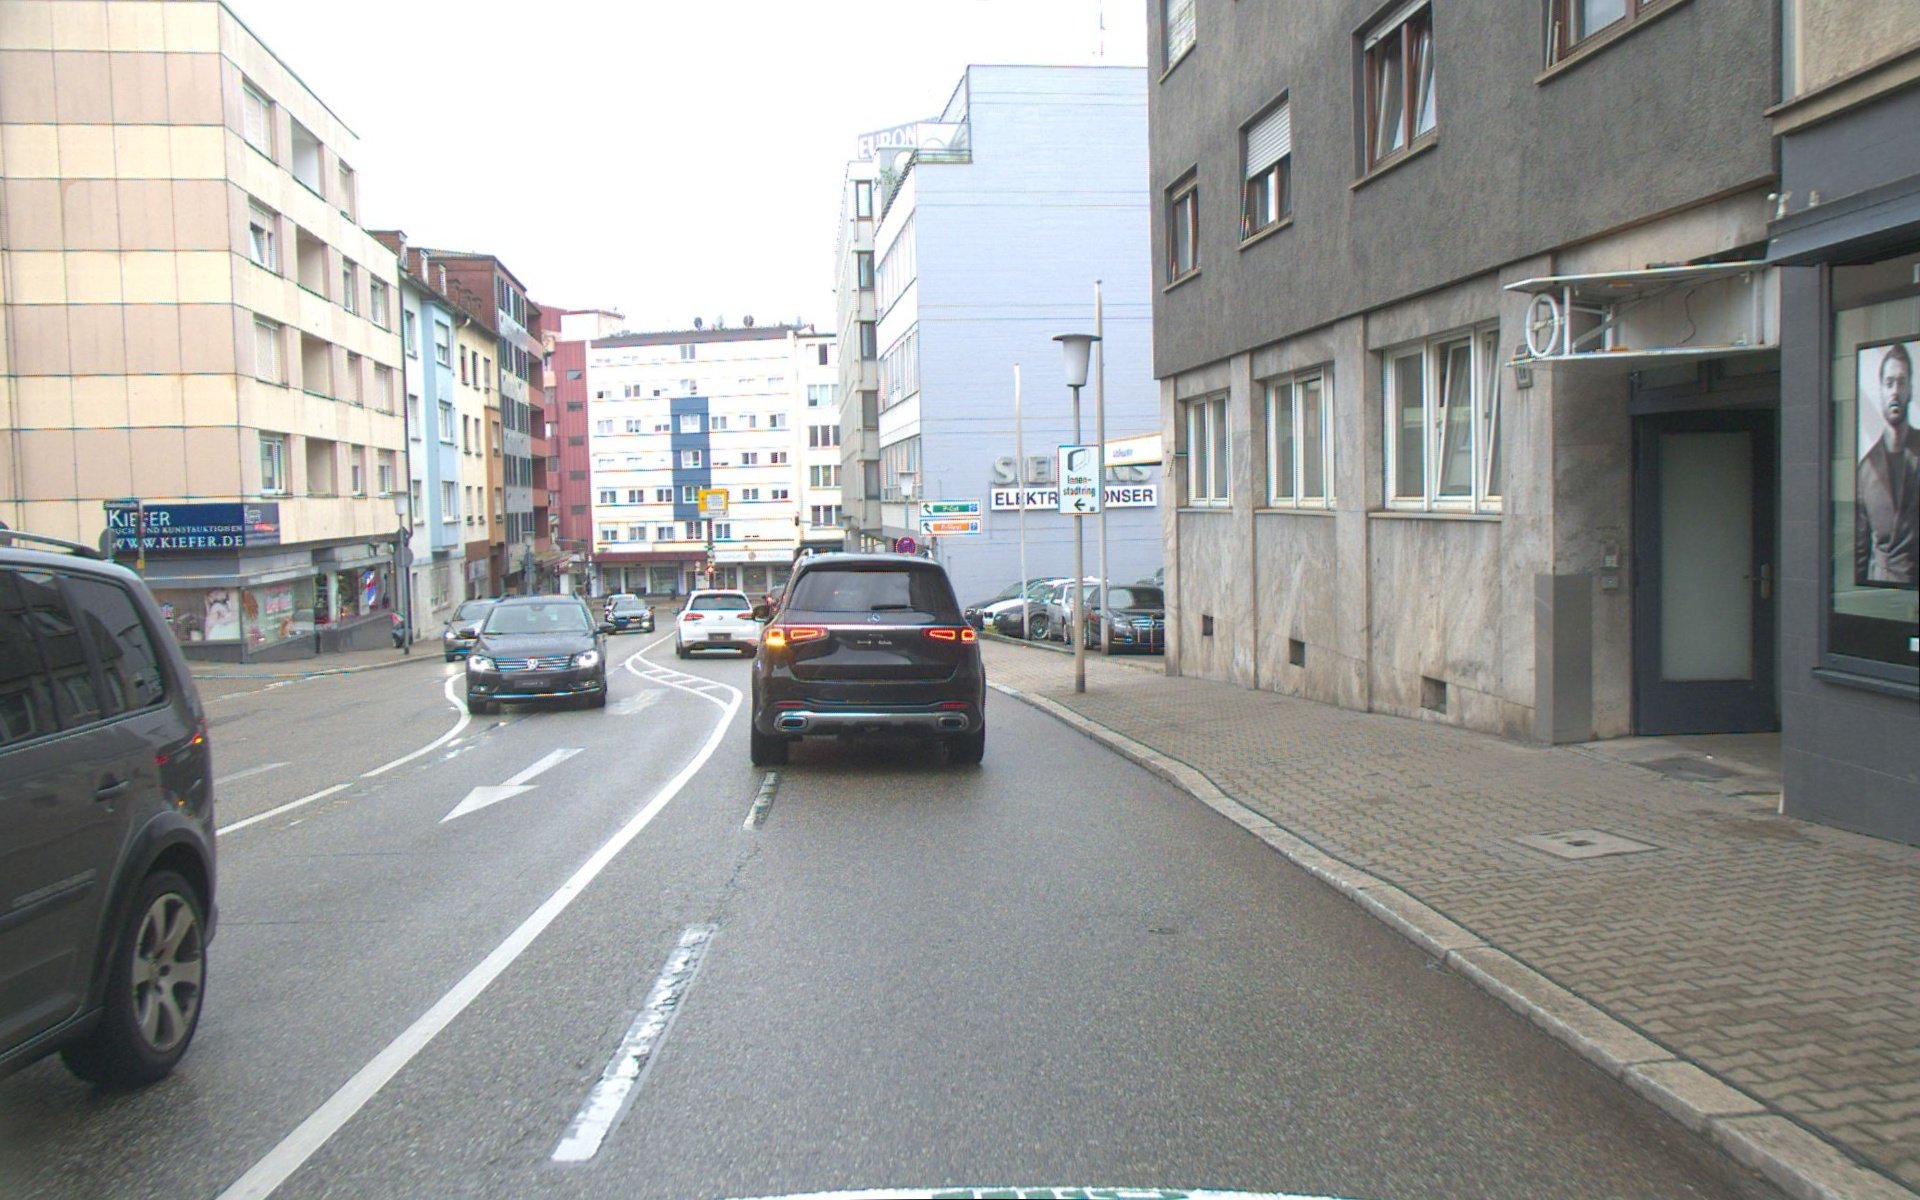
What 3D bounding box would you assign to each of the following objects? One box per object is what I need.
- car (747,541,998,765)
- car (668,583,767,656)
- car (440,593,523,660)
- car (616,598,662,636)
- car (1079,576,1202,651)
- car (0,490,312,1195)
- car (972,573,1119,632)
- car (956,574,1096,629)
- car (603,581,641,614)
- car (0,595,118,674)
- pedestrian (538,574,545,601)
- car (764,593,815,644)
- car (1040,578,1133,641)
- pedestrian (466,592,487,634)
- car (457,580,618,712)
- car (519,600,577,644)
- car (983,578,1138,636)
[{"bbox_3d":[-0.900,0.416,15.565,1.981,1.770,4.742,1,0,-5],"label":"car"},{"bbox_3d":[-5.531,0.396,37.327,1.799,1.487,4.364,-2,1,-13],"label":"car"},{"bbox_3d":[-12.880,0.715,44.729,1.684,1.613,4.132,-4,0,-11],"label":"car"},{"bbox_3d":[-12.753,0.657,65.648,1.685,1.340,4.131,-2,1,-12],"label":"car"},{"bbox_3d":[3.831,0.252,35.789,1.762,1.503,4.480,0,1,-6],"label":"car"},{"bbox_3d":[-3.231,0.586,3.799,1.770,1.735,4.560,1,0,-2],"label":"car"},{"bbox_3d":[2.477,0.090,47.919,3.938,1.625,1.784,0,-1,-26],"label":"car"},{"bbox_3d":[2.020,0.077,50.493,3.938,1.625,1.784,0,-1,-26],"label":"car"},{"bbox_3d":[-19.957,-0.159,97.744,1.835,1.783,4.391,-4,1,-8],"label":"car"},{"bbox_3d":[-19.568,0.676,33.336,4.242,1.539,1.899,0,0,3],"label":"car"},{"bbox_3d":[-23.839,-0.716,94.234,0.311,1.499,0.338,-1,4,-3],"label":"pedestrian"},{"bbox_3d":[-5.674,0.578,54.721,1.494,1.575,3.101,-1,1,-9],"label":"car"},{"bbox_3d":[3.105,0.210,41.303,1.536,1.503,4.063,0,1,-7],"label":"car"},{"bbox_3d":[-19.968,0.544,68.354,0.726,1.680,0.605,-1,4,-10],"label":"pedestrian"},{"bbox_3d":[-5.657,0.578,22.586,1.692,1.542,4.359,-3,0,-10],"label":"car"},{"bbox_3d":[-16.017,0.851,64.467,1.713,1.565,4.633,-4,0,-9],"label":"car"},{"bbox_3d":[2.764,0.208,45.418,3.938,1.521,1.718,0,-1,-27],"label":"car"}]
